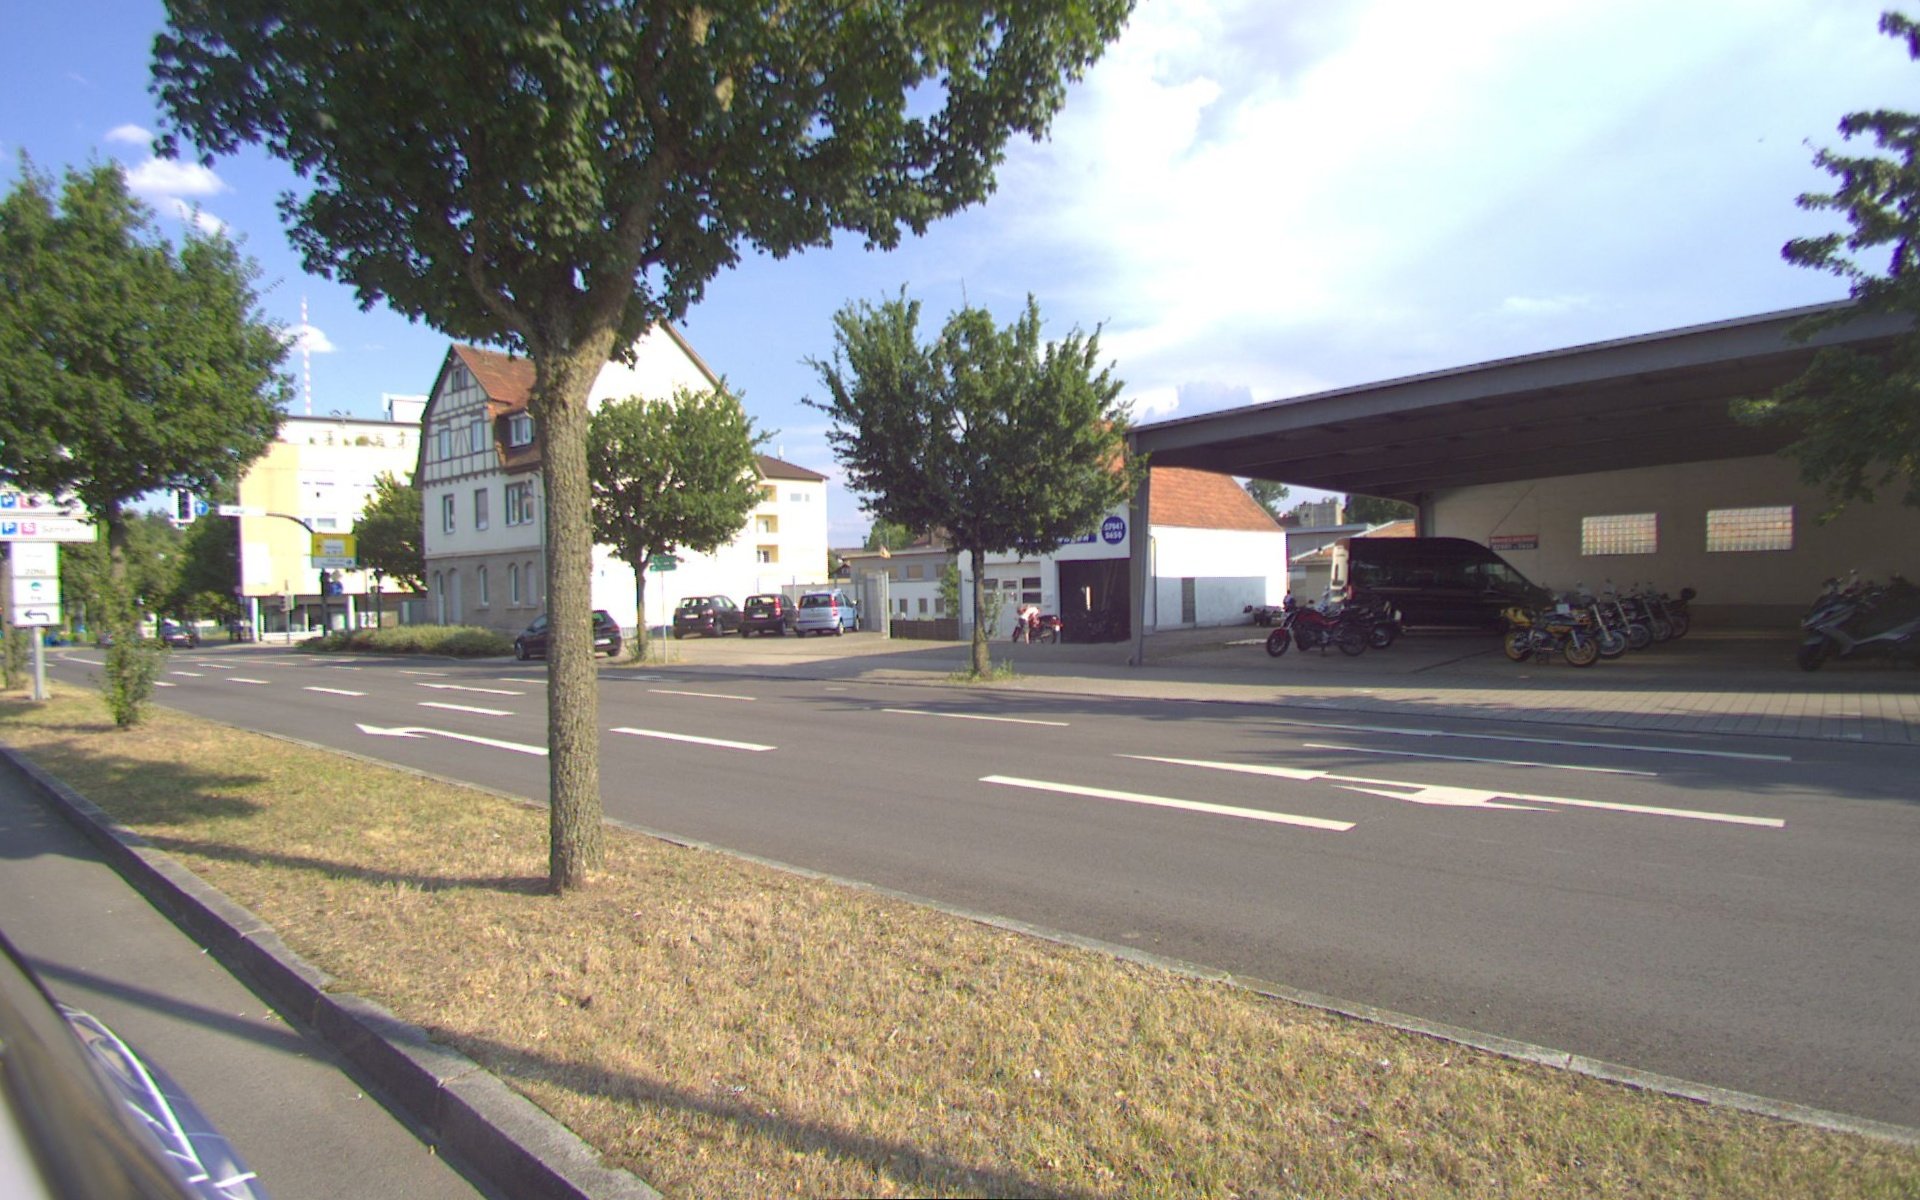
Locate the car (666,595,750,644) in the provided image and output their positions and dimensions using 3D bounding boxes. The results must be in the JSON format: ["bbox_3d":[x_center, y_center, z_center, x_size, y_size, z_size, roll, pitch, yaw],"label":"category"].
[{"bbox_3d":[-9.317,0.681,37.708,1.797,1.512,3.819,-3,2,5],"label":"car"}]

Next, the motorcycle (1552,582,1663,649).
[{"bbox_3d":[13.869,0.317,21.776,0.621,1.347,2.269,-1,0,-9],"label":"motorcycle"}]

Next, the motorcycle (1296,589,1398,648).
[{"bbox_3d":[9.383,0.444,24.615,2.198,1.372,0.630,-1,0,5],"label":"motorcycle"}]

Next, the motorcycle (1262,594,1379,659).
[{"bbox_3d":[7.501,0.554,21.168,2.202,1.290,0.629,-1,0,11],"label":"motorcycle"}]

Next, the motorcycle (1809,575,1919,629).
[{"bbox_3d":[23.739,0.064,26.528,2.103,1.306,0.628,-3,-1,18],"label":"motorcycle"}]

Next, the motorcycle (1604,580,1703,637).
[{"bbox_3d":[17.295,0.211,25.310,0.621,1.347,2.269,-1,0,-9],"label":"motorcycle"}]

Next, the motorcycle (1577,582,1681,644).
[{"bbox_3d":[15.542,0.294,23.586,0.621,1.347,2.269,-1,0,-9],"label":"motorcycle"}]

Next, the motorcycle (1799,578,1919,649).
[{"bbox_3d":[18.049,0.262,19.995,2.103,1.306,0.628,-3,-1,18],"label":"motorcycle"}]

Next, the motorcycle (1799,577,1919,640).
[{"bbox_3d":[20.233,0.199,22.651,2.103,1.306,0.628,-3,-1,18],"label":"motorcycle"}]

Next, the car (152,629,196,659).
[{"bbox_3d":[-47.685,2.638,61.375,1.756,1.706,4.004,-1,0,-42],"label":"car"}]

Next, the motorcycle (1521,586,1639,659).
[{"bbox_3d":[12.163,0.430,19.963,0.621,1.347,2.269,-1,0,-9],"label":"motorcycle"}]

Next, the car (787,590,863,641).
[{"bbox_3d":[-4.677,0.511,35.685,1.797,1.512,3.819,-3,2,5],"label":"car"}]

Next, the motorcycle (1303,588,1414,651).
[{"bbox_3d":[8.961,0.443,22.811,2.198,1.372,0.630,-1,0,5],"label":"motorcycle"}]

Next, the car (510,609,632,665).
[{"bbox_3d":[-11.595,1.073,30.085,3.823,1.462,1.795,-1,2,42],"label":"car"}]

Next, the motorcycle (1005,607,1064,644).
[{"bbox_3d":[2.439,0.830,33.218,1.974,1.194,0.577,-1,0,41],"label":"motorcycle"}]

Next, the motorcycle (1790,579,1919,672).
[{"bbox_3d":[13.865,0.369,15.123,2.103,1.306,0.628,-3,-1,18],"label":"motorcycle"}]

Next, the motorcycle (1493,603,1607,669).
[{"bbox_3d":[10.535,0.612,18.159,0.621,1.095,2.038,-1,0,-7],"label":"motorcycle"}]

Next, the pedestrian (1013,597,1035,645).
[{"bbox_3d":[2.077,0.667,32.772,0.485,1.530,0.496,-1,0,41],"label":"pedestrian"}]

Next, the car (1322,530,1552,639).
[{"bbox_3d":[12.870,-0.387,27.635,5.221,2.773,1.996,-1,0,7],"label":"car"}]

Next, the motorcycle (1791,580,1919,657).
[{"bbox_3d":[16.535,0.333,18.355,2.103,1.306,0.628,-3,-1,18],"label":"motorcycle"}]

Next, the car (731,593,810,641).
[{"bbox_3d":[-6.916,0.577,37.315,1.797,1.512,3.819,-3,2,5],"label":"car"}]

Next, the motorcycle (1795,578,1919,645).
[{"bbox_3d":[19.039,0.248,21.296,2.103,1.306,0.628,-3,-1,18],"label":"motorcycle"}]

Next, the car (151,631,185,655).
[{"bbox_3d":[-60.003,3.243,76.694,1.753,1.706,4.010,-1,0,-35],"label":"car"}]

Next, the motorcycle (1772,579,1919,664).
[{"bbox_3d":[14.917,0.355,16.783,2.103,1.306,0.628,-3,-1,18],"label":"motorcycle"}]

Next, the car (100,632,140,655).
[{"bbox_3d":[-62.116,3.191,74.917,1.753,1.480,4.386,-1,0,-33],"label":"car"}]
